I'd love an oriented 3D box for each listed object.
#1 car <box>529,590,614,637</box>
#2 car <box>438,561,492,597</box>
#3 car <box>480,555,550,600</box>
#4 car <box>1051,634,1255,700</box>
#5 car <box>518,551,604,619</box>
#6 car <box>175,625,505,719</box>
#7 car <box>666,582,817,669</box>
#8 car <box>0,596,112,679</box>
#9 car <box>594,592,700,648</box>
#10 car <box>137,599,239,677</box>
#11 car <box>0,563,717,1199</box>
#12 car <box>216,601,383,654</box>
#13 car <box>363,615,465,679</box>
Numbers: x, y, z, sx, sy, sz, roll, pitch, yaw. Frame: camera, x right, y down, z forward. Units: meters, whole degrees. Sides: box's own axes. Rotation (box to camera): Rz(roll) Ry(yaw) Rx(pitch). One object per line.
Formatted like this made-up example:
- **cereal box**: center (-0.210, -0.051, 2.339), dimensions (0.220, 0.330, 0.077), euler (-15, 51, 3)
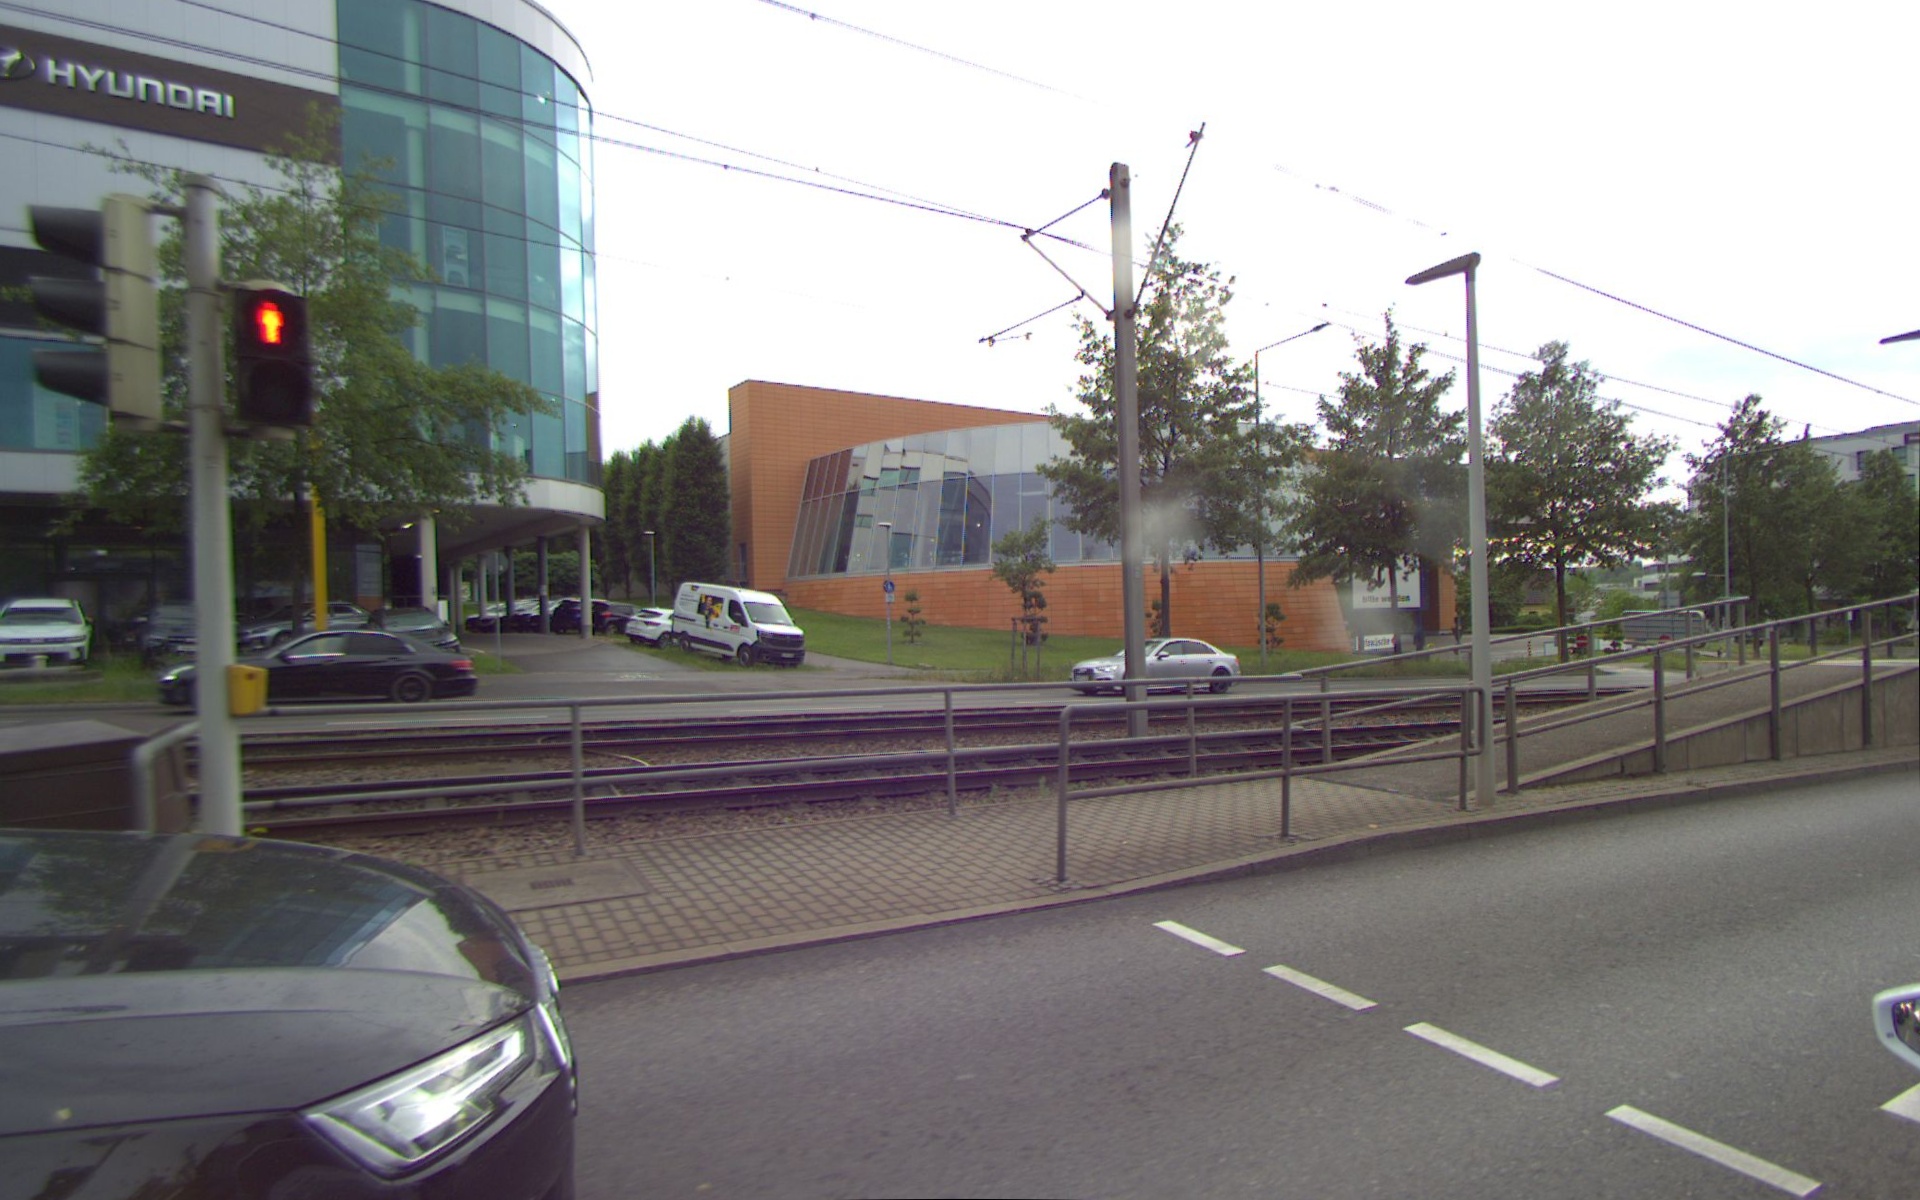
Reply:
- **car**: center (-17.550, 0.575, 45.206), dimensions (2.257, 1.952, 5.429), euler (2, 0, -35)
- **car**: center (-36.744, -1.541, 74.467), dimensions (2.721, 2.528, 5.429), euler (2, 0, -35)
- **car**: center (-26.602, -1.314, 59.940), dimensions (2.721, 2.528, 5.429), euler (2, 0, -35)
- **car**: center (4.767, 1.594, 24.628), dimensions (4.816, 1.407, 1.984), euler (2, 0, -30)
- **car**: center (-21.199, -0.771, 53.196), dimensions (2.972, 3.315, 5.429), euler (2, 0, -36)
- **car**: center (-10.988, 1.239, 18.203), dimensions (4.816, 1.455, 1.984), euler (2, 0, -30)
- **car**: center (-7.433, 0.780, 33.837), dimensions (5.407, 2.664, 2.266), euler (1, 0, 43)
- **car**: center (-21.608, 0.821, 23.891), dimensions (1.904, 1.684, 3.958), euler (1, 1, -36)
- **car**: center (-12.082, 0.726, 38.502), dimensions (2.257, 1.952, 5.429), euler (2, 0, -35)
- **car**: center (-19.438, 0.895, 25.409), dimensions (1.904, 1.684, 3.958), euler (1, 1, -36)
- **car**: center (-2.883, 0.664, 1.149), dimensions (4.772, 1.453, 1.781), euler (1, -1, -30)
- **car**: center (-20.124, 0.804, 30.792), dimensions (1.737, 1.489, 3.999), euler (0, -1, 21)
- **car**: center (-15.094, 1.233, 27.675), dimensions (1.880, 1.528, 3.957), euler (2, 0, -38)
